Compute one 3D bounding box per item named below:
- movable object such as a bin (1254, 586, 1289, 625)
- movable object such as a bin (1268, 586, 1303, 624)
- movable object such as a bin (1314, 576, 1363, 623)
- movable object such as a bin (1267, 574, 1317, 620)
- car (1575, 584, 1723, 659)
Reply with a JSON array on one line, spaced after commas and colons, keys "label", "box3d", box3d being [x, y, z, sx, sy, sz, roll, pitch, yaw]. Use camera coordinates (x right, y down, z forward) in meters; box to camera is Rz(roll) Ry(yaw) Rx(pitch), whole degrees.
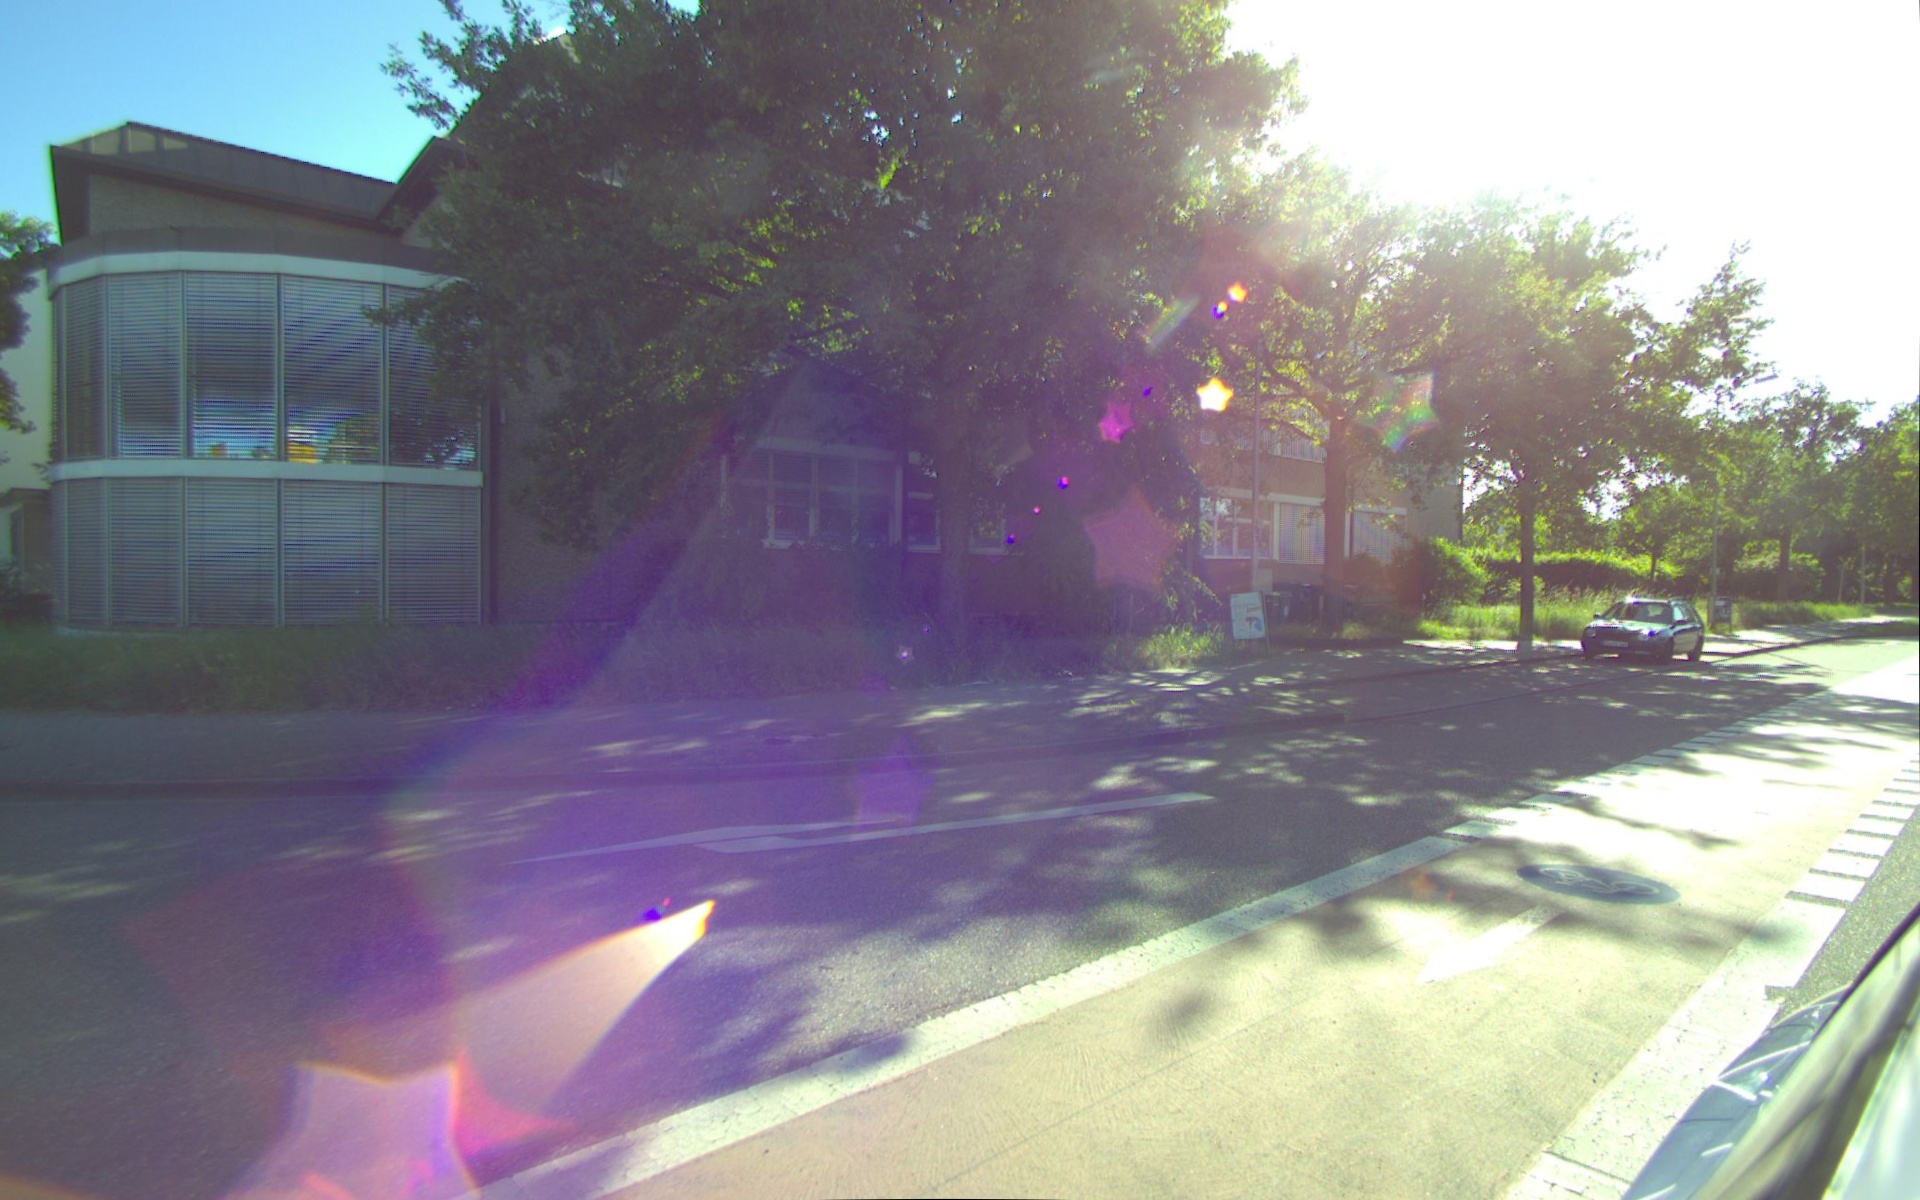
[{"label": "movable object such as a bin", "box3d": [8.784, 0.148, 28.553, 0.683, 1.055, 0.687, 0, 0, -41]}, {"label": "movable object such as a bin", "box3d": [9.322, 0.128, 29.013, 0.683, 1.055, 0.687, 0, 1, -41]}, {"label": "movable object such as a bin", "box3d": [11.154, -0.025, 29.816, 0.782, 1.338, 1.089, 0, 1, -41]}, {"label": "movable object such as a bin", "box3d": [10.129, -0.109, 30.920, 0.782, 1.357, 1.207, 0, 1, -41]}, {"label": "car", "box3d": [15.861, 0.412, 23.229, 4.141, 1.504, 1.776, -1, 3, -41]}]
